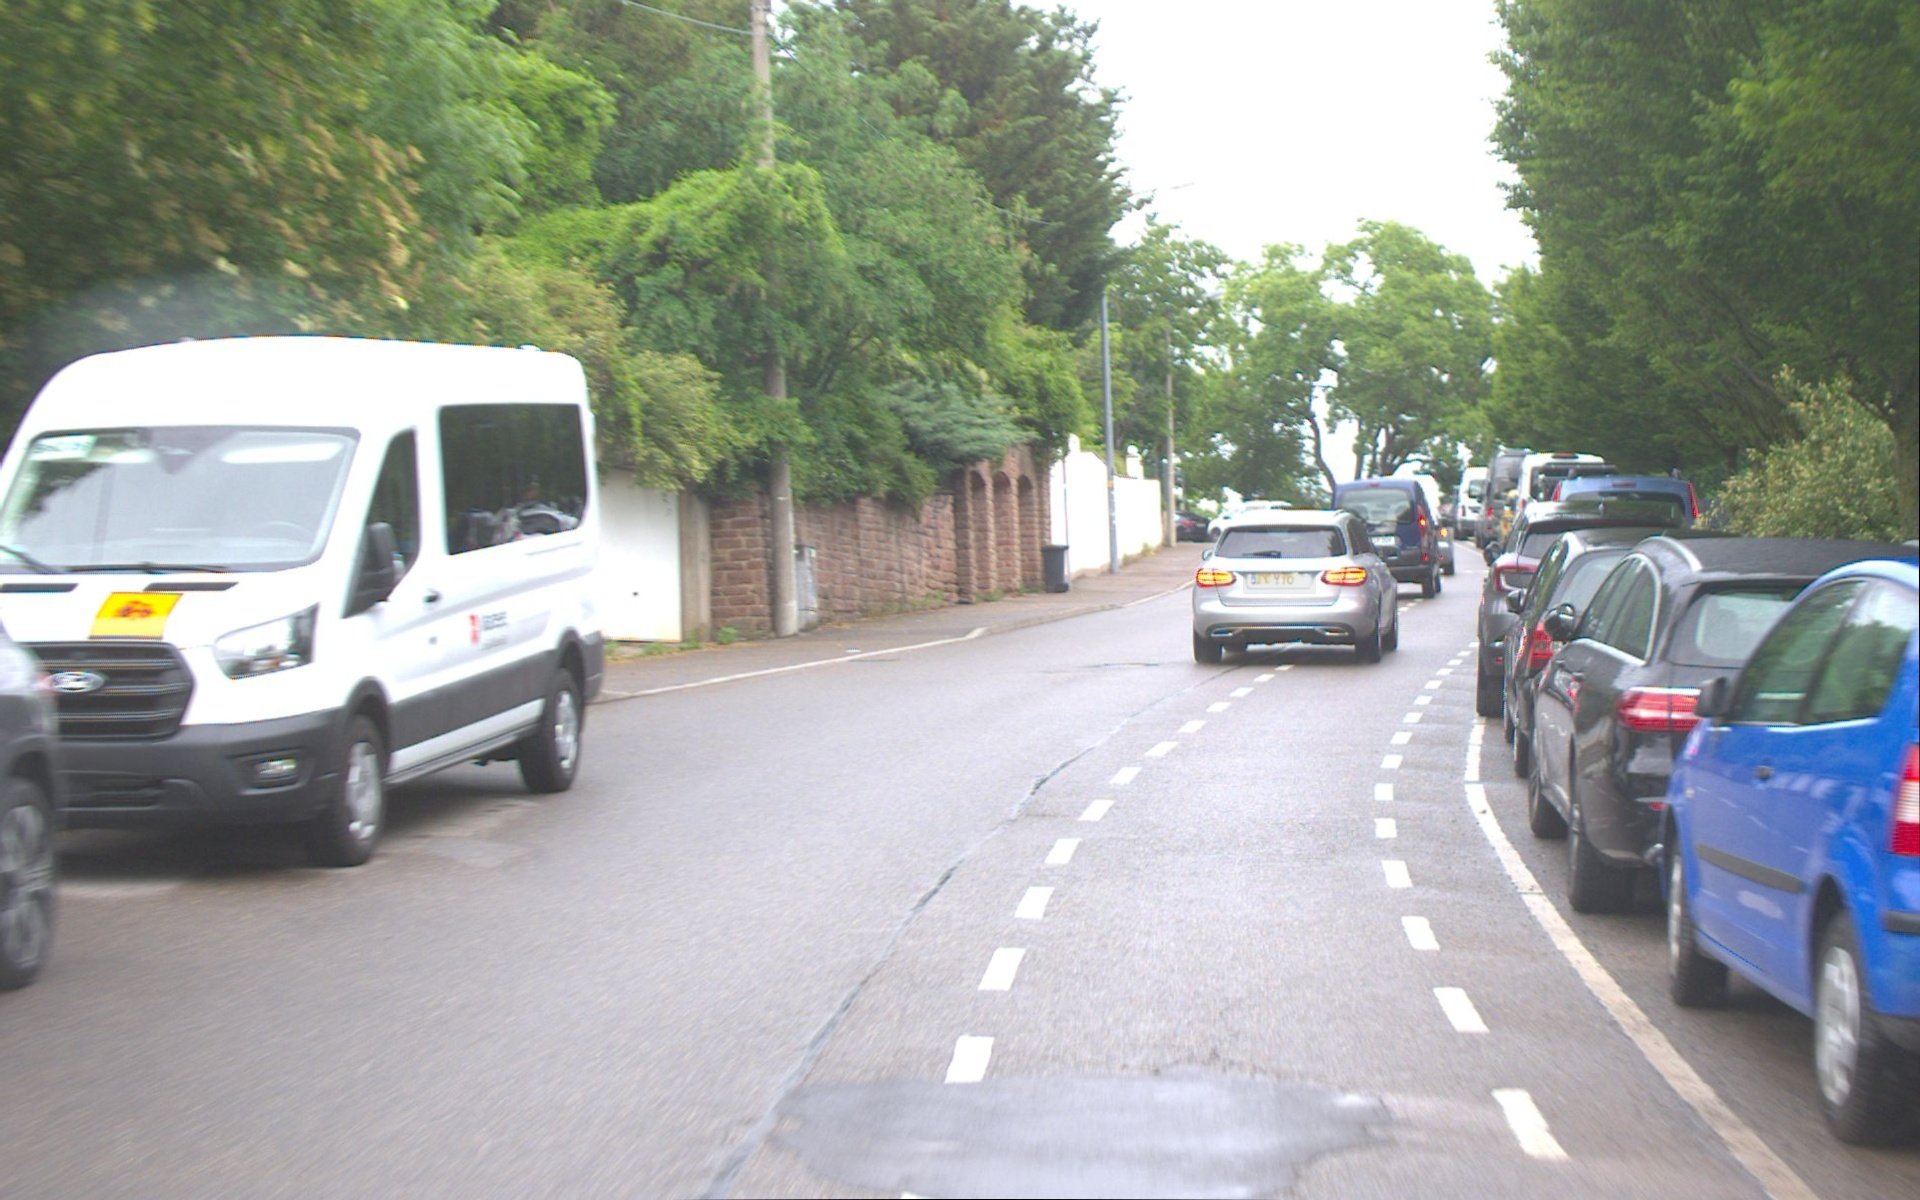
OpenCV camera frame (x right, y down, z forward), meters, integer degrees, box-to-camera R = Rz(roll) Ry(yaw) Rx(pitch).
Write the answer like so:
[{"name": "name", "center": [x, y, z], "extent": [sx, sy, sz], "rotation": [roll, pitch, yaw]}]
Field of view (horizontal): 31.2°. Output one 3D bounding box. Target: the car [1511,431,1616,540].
[{"name": "car", "center": [14.494, -2.760, 82.849], "extent": [2.174, 2.484, 6.032], "rotation": [1, 2, 7]}]

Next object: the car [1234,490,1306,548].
[{"name": "car", "center": [8.120, -2.140, 89.746], "extent": [1.749, 1.353, 4.425], "rotation": [-3, 2, 6]}]

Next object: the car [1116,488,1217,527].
[{"name": "car", "center": [9.349, -4.208, 155.907], "extent": [1.965, 1.692, 4.669], "rotation": [-1, 3, -39]}]

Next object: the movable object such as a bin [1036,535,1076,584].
[{"name": "movable object such as a bin", "center": [1.857, -0.784, 66.356], "extent": [0.658, 0.916, 0.677], "rotation": [-1, 2, 10]}]

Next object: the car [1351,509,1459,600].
[{"name": "car", "center": [8.689, -0.891, 66.895], "extent": [1.994, 1.702, 3.999], "rotation": [0, 1, 9]}]

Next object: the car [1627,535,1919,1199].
[{"name": "car", "center": [3.049, 0.592, 9.846], "extent": [1.654, 1.514, 4.000], "rotation": [1, 1, 3]}]

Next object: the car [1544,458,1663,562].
[{"name": "car", "center": [11.607, -1.653, 62.221], "extent": [1.780, 1.777, 4.678], "rotation": [-1, 2, 7]}]

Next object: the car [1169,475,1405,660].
[{"name": "car", "center": [3.293, -0.331, 33.920], "extent": [2.026, 1.702, 4.214], "rotation": [0, 1, 9]}]

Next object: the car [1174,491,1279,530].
[{"name": "car", "center": [11.832, -3.992, 152.890], "extent": [1.965, 1.692, 4.494], "rotation": [-1, 3, -42]}]

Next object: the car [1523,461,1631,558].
[{"name": "car", "center": [13.471, -1.980, 75.269], "extent": [1.994, 2.045, 5.120], "rotation": [0, 2, 7]}]

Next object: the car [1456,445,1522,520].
[{"name": "car", "center": [18.035, -4.017, 117.368], "extent": [2.064, 2.485, 4.759], "rotation": [1, 2, 7]}]

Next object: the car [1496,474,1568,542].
[{"name": "car", "center": [15.914, -2.573, 95.748], "extent": [1.728, 1.779, 4.275], "rotation": [2, 2, 7]}]

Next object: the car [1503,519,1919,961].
[{"name": "car", "center": [3.351, 0.452, 14.738], "extent": [1.776, 1.547, 4.727], "rotation": [1, 2, 6]}]

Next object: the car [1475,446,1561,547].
[{"name": "car", "center": [16.505, -3.095, 101.836], "extent": [2.125, 2.877, 5.769], "rotation": [1, 2, 6]}]

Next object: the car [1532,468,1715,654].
[{"name": "car", "center": [7.016, -0.473, 36.518], "extent": [1.779, 1.845, 4.423], "rotation": [0, 2, 10]}]

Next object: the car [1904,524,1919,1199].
[{"name": "car", "center": [2.815, 0.653, 5.900], "extent": [1.626, 1.557, 3.022], "rotation": [0, 1, 2]}]

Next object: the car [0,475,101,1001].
[{"name": "car", "center": [-4.072, 0.490, 9.896], "extent": [1.896, 1.685, 4.545], "rotation": [-1, 1, 2]}]

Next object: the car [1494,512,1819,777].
[{"name": "car", "center": [4.178, 0.188, 21.149], "extent": [1.643, 1.419, 4.287], "rotation": [1, 2, 8]}]

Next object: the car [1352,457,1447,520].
[{"name": "car", "center": [18.028, -4.581, 141.077], "extent": [2.125, 2.518, 4.498], "rotation": [0, 2, -18]}]

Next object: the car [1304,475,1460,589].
[{"name": "car", "center": [6.473, -1.041, 53.091], "extent": [1.993, 1.702, 4.000], "rotation": [0, 1, 1]}]

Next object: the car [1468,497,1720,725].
[{"name": "car", "center": [4.836, 0.011, 26.373], "extent": [1.715, 1.550, 4.162], "rotation": [2, 2, 10]}]

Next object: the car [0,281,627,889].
[{"name": "car", "center": [-3.443, -0.155, 17.535], "extent": [2.095, 2.541, 6.096], "rotation": [-1, 2, 8]}]

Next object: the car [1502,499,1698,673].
[{"name": "car", "center": [5.907, -0.181, 31.519], "extent": [1.649, 1.476, 4.018], "rotation": [1, 2, 12]}]
